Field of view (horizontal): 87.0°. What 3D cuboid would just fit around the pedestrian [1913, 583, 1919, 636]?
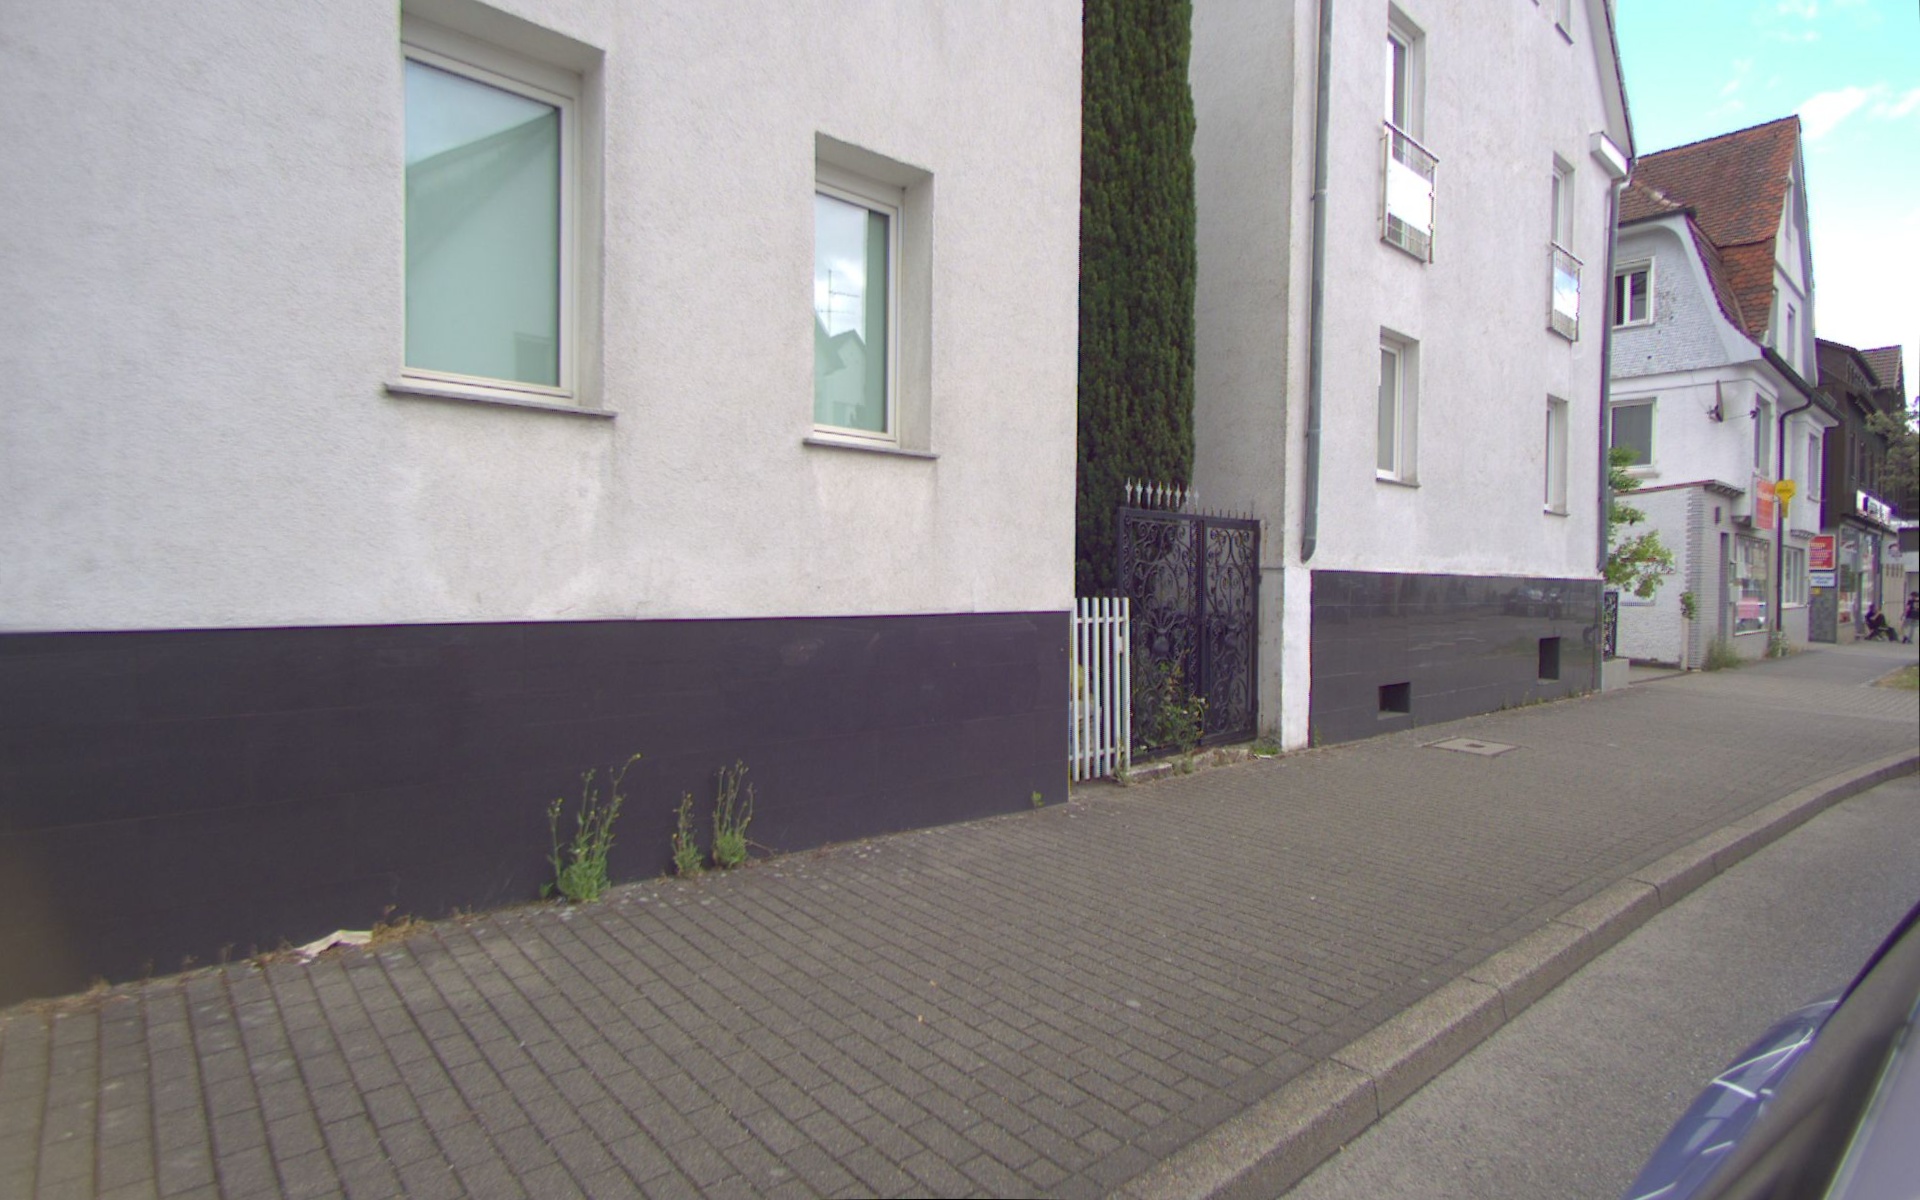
[{"bbox_3d":[32.589,0.321,34.101,0.642,1.762,0.731,3,2,43],"label":"pedestrian"}]

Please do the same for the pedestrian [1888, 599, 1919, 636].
[{"bbox_3d":[32.747,0.607,35.082,0.633,1.226,0.741,0,2,-42],"label":"pedestrian"}]
